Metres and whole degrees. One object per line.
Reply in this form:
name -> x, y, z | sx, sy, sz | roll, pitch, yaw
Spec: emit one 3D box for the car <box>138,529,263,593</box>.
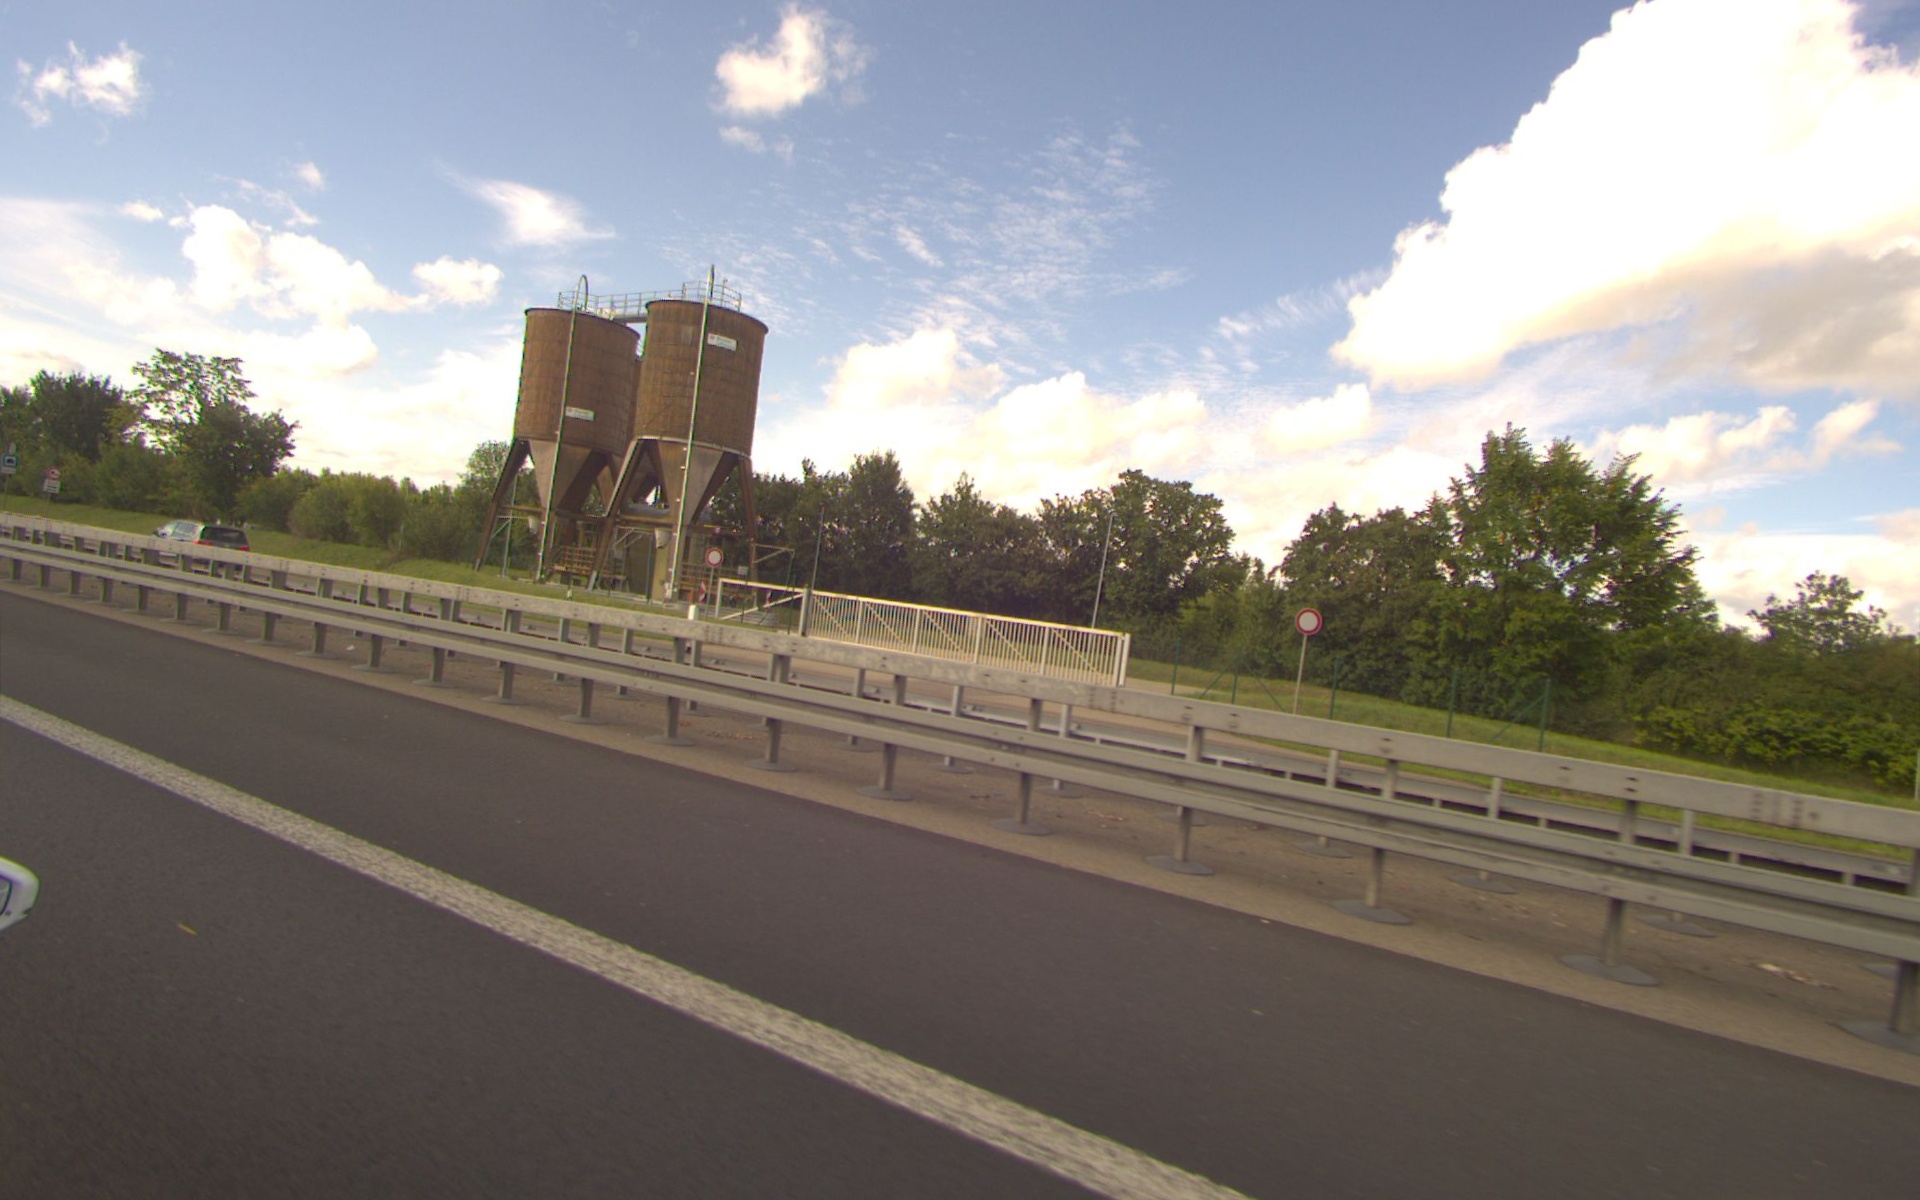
car -> -25.951, -1.341, 34.372 | 3.933, 1.739, 1.995 | 6, 1, 31
